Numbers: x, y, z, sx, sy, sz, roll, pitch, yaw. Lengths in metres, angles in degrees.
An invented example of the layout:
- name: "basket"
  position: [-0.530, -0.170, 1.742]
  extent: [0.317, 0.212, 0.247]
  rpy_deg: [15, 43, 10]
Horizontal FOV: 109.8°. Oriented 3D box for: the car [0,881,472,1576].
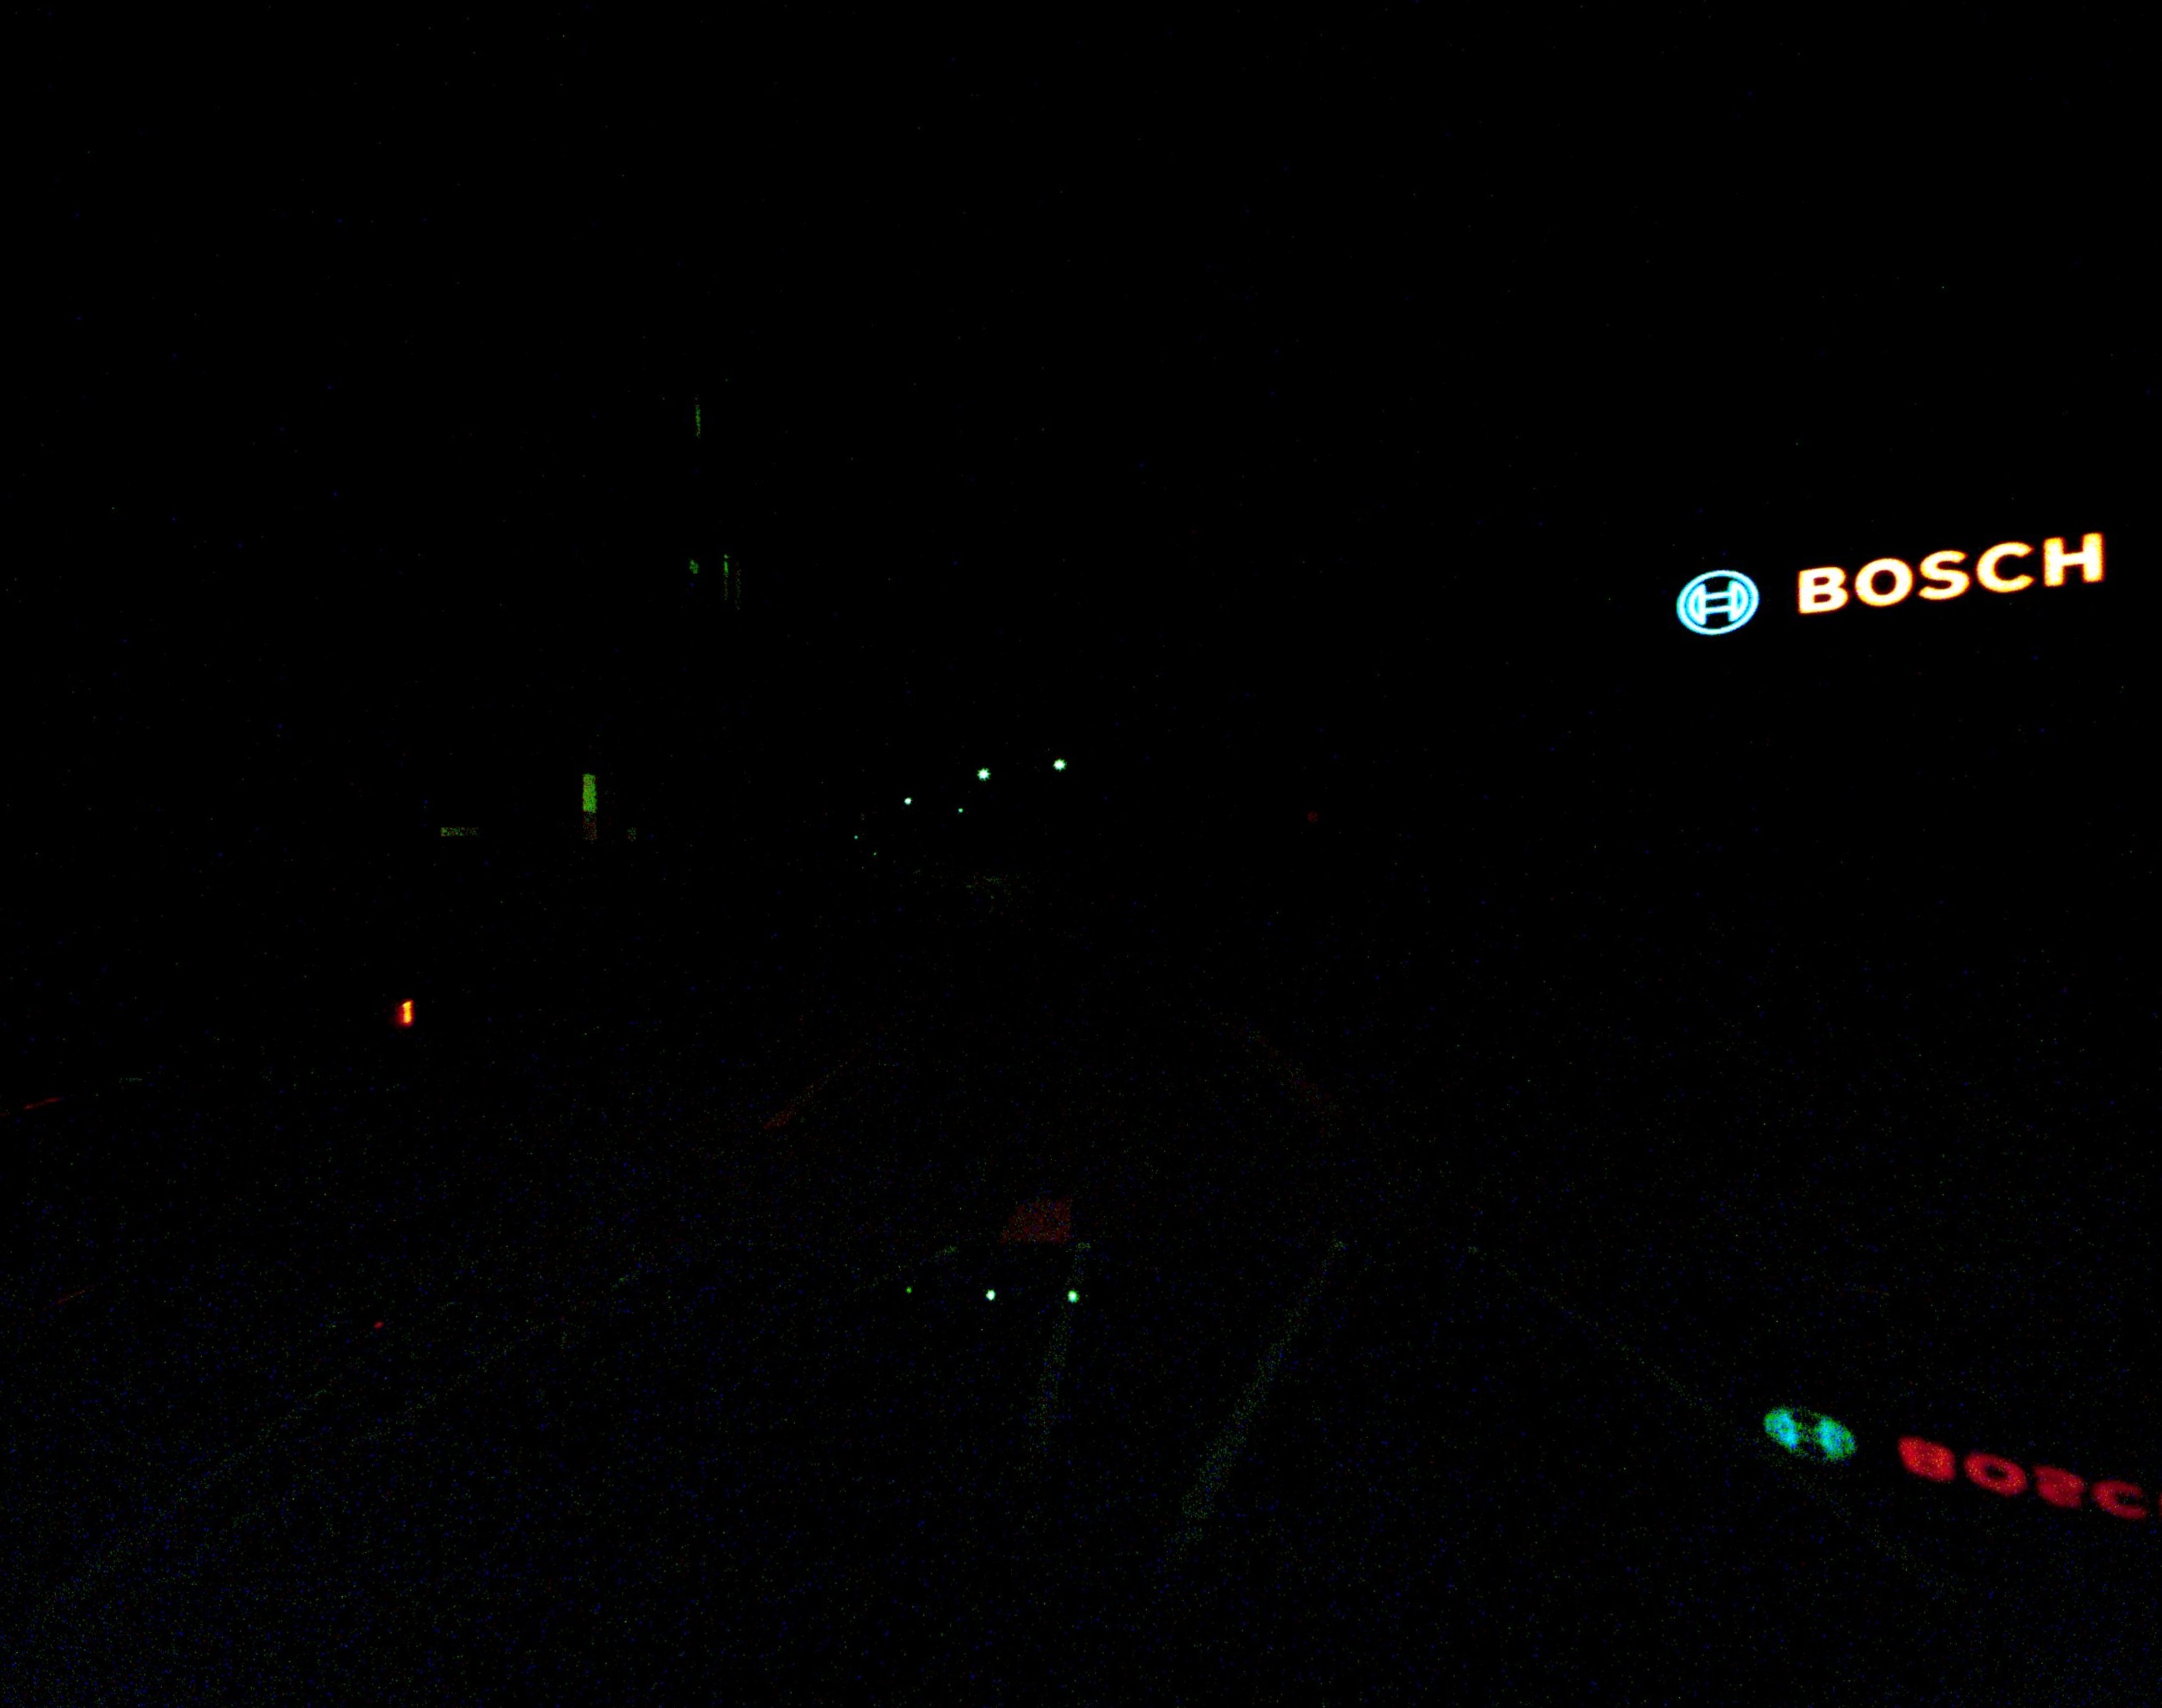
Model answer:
- name: "car"
  position: [-3.460, 0.972, 1.100]
  extent: [1.674, 1.601, 4.228]
  rpy_deg: [-1, 1, 0]
